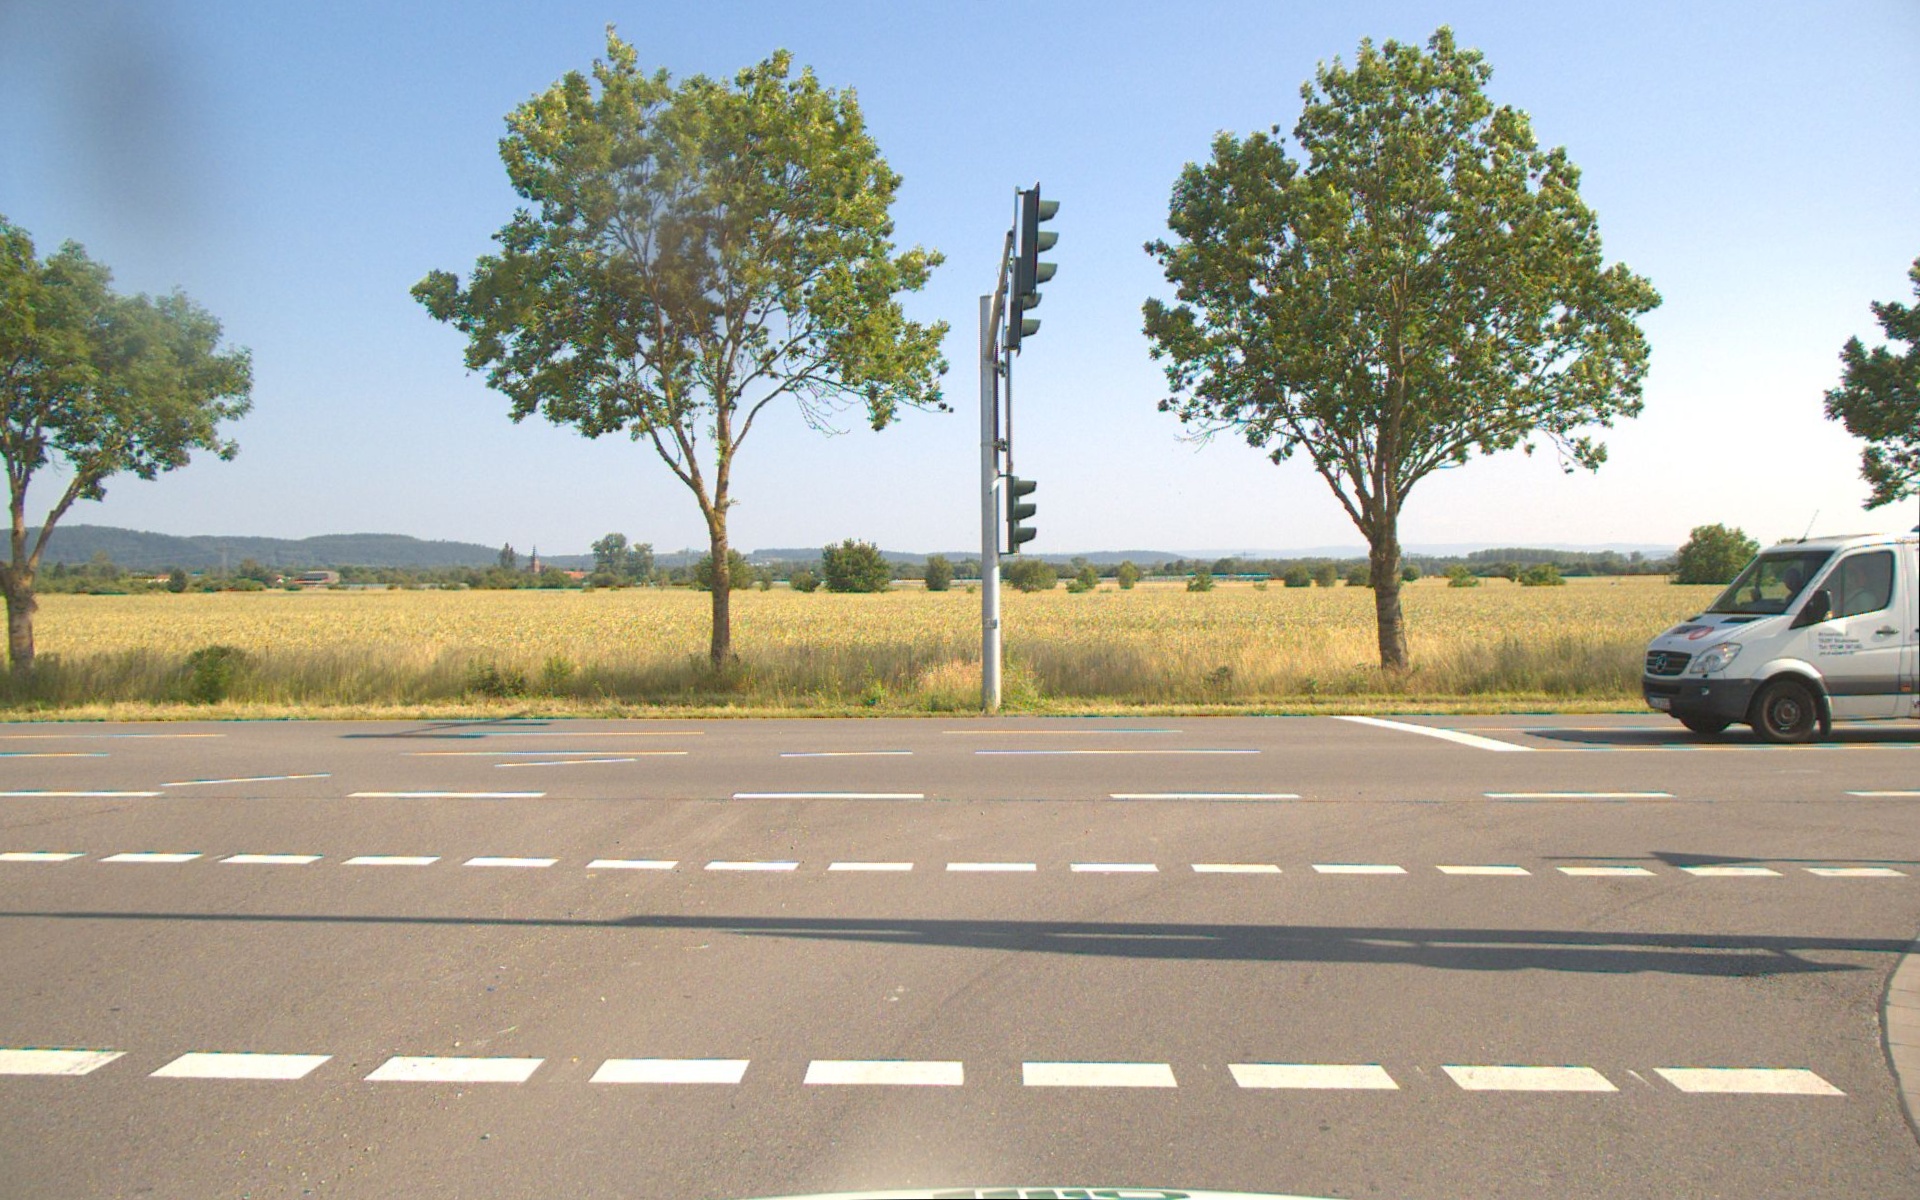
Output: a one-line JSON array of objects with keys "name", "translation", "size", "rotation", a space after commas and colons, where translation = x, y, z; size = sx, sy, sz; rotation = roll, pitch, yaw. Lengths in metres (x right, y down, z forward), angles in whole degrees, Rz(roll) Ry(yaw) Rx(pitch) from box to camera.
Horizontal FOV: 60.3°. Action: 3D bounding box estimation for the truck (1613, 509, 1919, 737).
[{"name": "truck", "translation": [10.927, 0.244, 18.976], "size": [6.053, 2.447, 2.070], "rotation": [0, -1, -2]}]
